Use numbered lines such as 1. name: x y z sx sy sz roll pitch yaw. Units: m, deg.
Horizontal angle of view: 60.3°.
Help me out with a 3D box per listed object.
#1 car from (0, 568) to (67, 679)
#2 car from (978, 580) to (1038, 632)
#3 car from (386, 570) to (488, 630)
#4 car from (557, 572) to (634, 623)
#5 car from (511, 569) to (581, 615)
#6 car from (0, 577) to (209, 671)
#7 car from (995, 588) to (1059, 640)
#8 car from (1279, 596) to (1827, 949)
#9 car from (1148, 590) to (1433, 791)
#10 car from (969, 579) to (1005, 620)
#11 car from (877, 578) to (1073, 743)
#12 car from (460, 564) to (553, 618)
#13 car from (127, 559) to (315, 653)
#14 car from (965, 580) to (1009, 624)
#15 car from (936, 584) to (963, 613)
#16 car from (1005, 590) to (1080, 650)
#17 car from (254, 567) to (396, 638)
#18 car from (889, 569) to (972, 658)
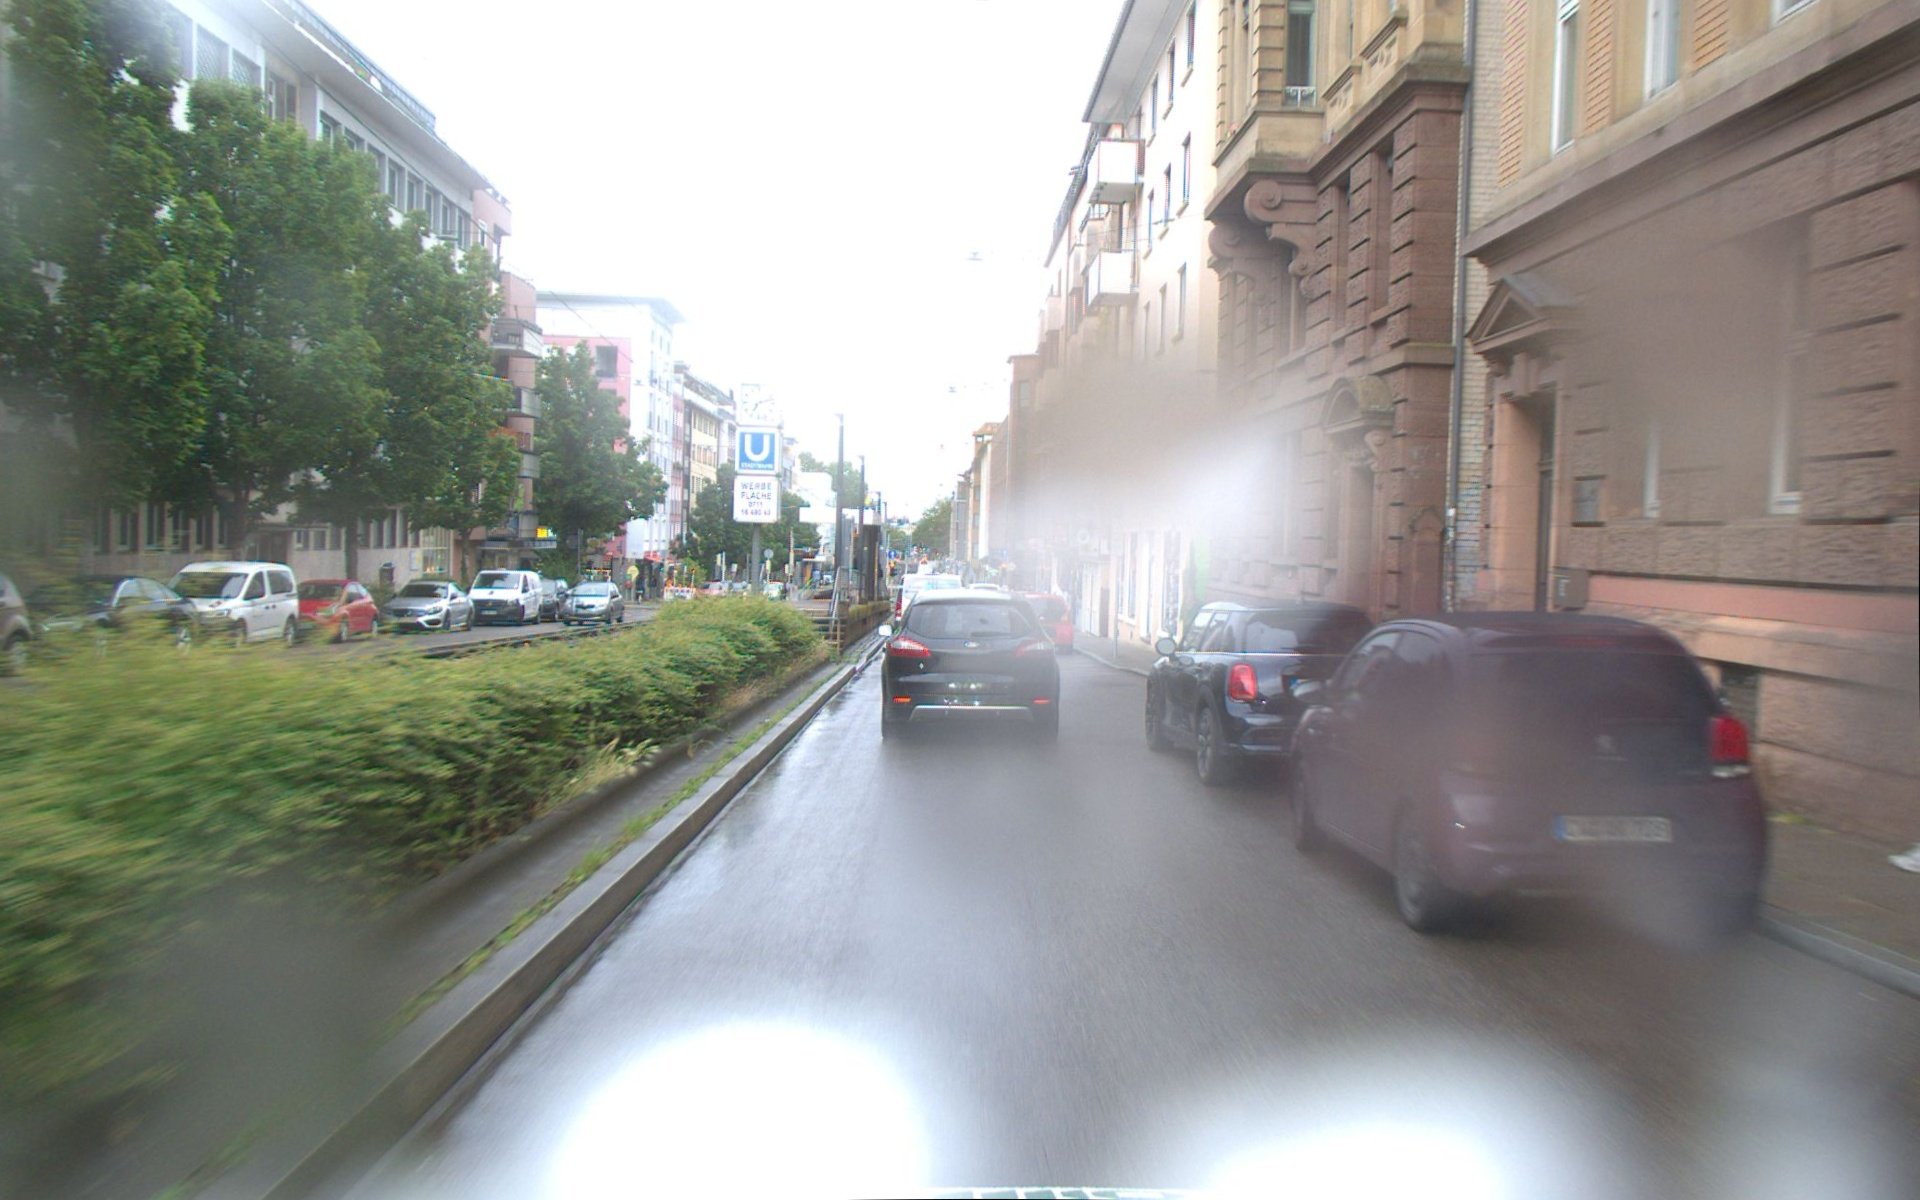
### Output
1. car: -14.467 0.290 22.867 1.818 1.576 4.430 2 -1 -1
2. car: 1.625 0.244 57.221 1.820 1.612 3.778 4 -1 -1
3. car: -14.847 0.030 47.167 1.634 1.585 4.045 2 -1 -1
4. car: -12.912 -0.055 58.794 1.818 1.665 4.045 2 -1 -1
5. car: -15.657 -0.267 62.722 1.660 1.601 4.045 2 -1 -1
6. car: -14.470 0.403 27.711 1.818 1.443 4.430 -1 -1 -1
7. car: 1.927 0.381 48.656 1.636 1.446 3.475 1 0 -1
8. car: 2.881 0.736 8.825 1.616 1.485 3.475 1 0 -1
9. car: 2.696 0.672 14.307 1.545 1.485 3.819 1 0 -2
10. car: 1.287 -0.015 80.661 1.559 1.812 3.778 4 -1 -1
11. car: 0.045 0.567 17.520 1.806 1.533 3.997 1 0 -3
12. car: -15.398 -0.274 56.374 1.818 1.665 4.934 2 -1 -1
13. car: -14.884 0.143 33.584 1.818 1.731 4.430 2 -1 -1
14. car: 1.195 0.128 74.673 1.802 1.812 3.778 4 -1 -1
15. car: -0.813 -0.098 130.311 1.953 2.049 3.999 4 -1 -1
16. car: 2.052 0.482 42.143 1.636 1.446 3.475 1 0 -1
17. car: -15.122 0.091 39.609 1.818 1.553 4.045 2 -1 -1
18. car: -0.723 0.288 41.989 1.948 2.096 4.645 1 1 -1
